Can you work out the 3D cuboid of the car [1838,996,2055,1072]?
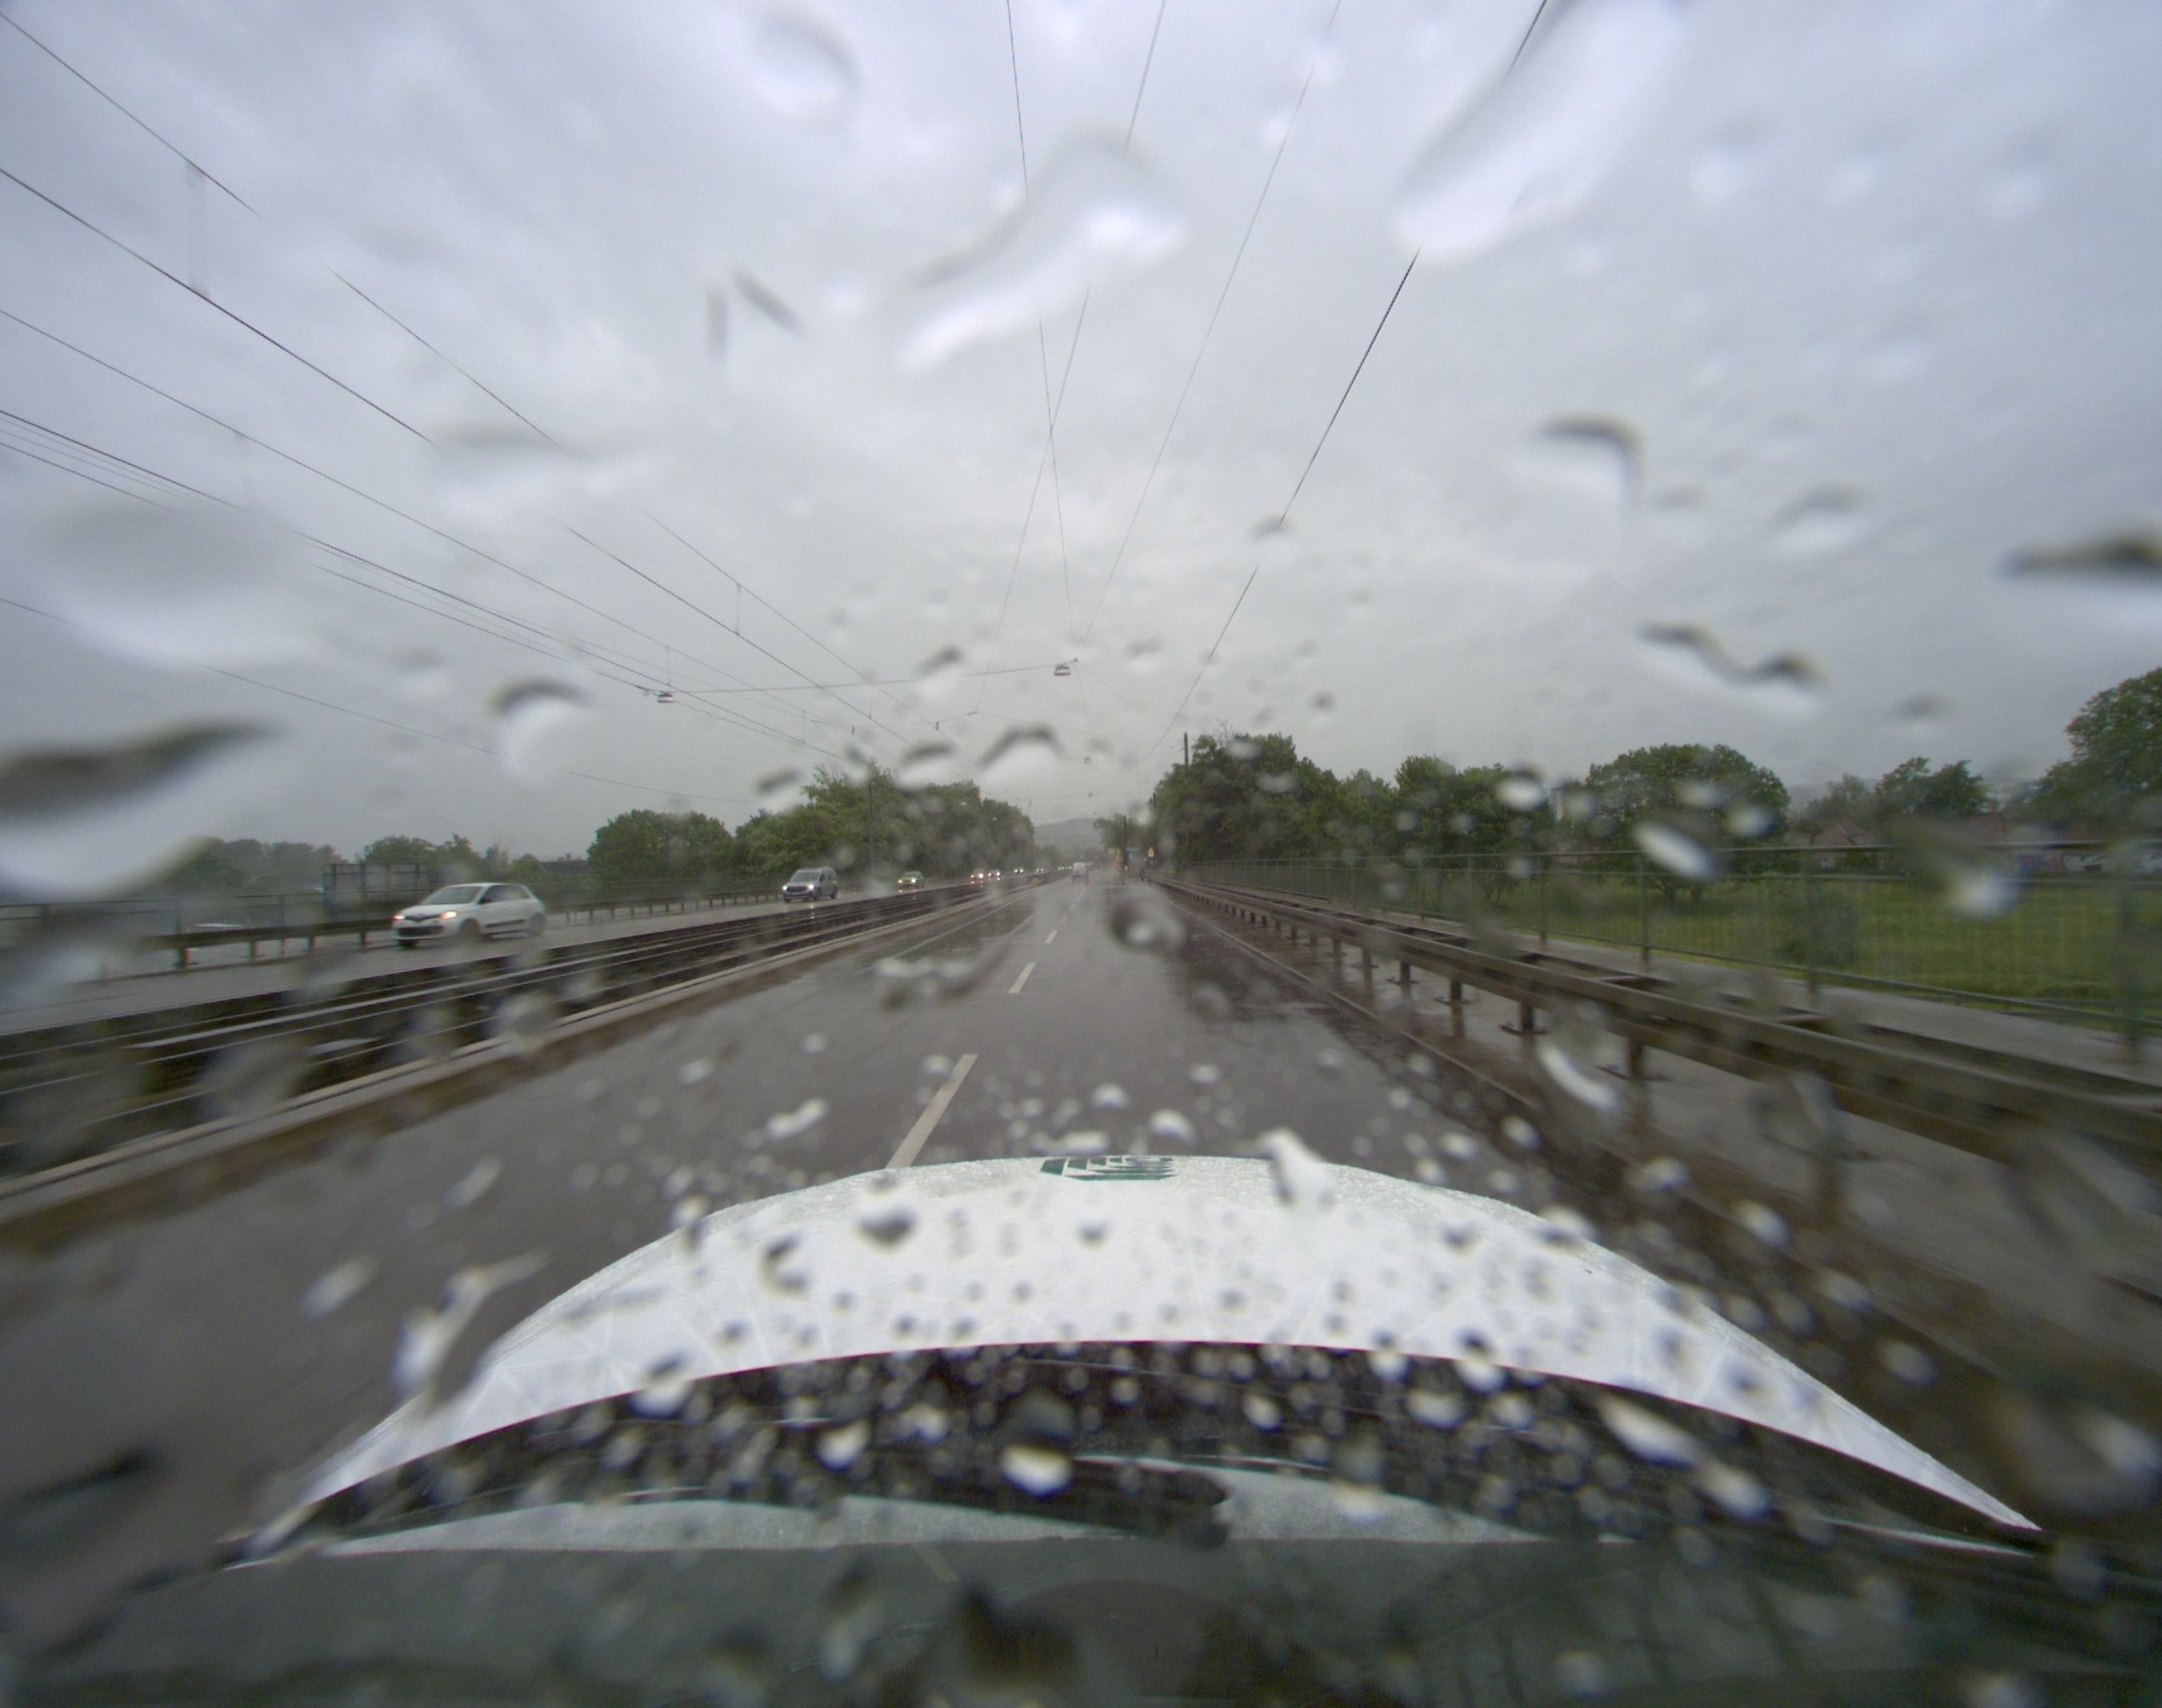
[{"bbox_3d":[29.551,6.113,28.070,4.770,1.696,2.012,1,-2,32],"label":"car"}]

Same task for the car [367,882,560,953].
[{"bbox_3d":[-16.204,1.609,21.664,1.986,1.617,4.001,-2,-2,2],"label":"car"}]

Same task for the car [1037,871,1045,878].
[{"bbox_3d":[-11.492,5.988,233.954,1.986,1.783,4.001,3,0,1],"label":"car"}]

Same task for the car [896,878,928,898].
[{"bbox_3d":[-14.529,2.929,70.165,1.839,1.594,4.001,-1,-2,2],"label":"car"}]

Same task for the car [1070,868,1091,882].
[{"bbox_3d":[-0.048,2.316,90.156,2.070,1.420,4.001,-3,-2,2],"label":"car"}]

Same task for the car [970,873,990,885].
[{"bbox_3d":[-13.279,3.313,107.381,1.834,1.574,4.386,-1,-2,2],"label":"car"}]

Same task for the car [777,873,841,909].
[{"bbox_3d":[-14.775,1.990,44.564,1.841,1.832,4.395,2,-2,2],"label":"car"}]
